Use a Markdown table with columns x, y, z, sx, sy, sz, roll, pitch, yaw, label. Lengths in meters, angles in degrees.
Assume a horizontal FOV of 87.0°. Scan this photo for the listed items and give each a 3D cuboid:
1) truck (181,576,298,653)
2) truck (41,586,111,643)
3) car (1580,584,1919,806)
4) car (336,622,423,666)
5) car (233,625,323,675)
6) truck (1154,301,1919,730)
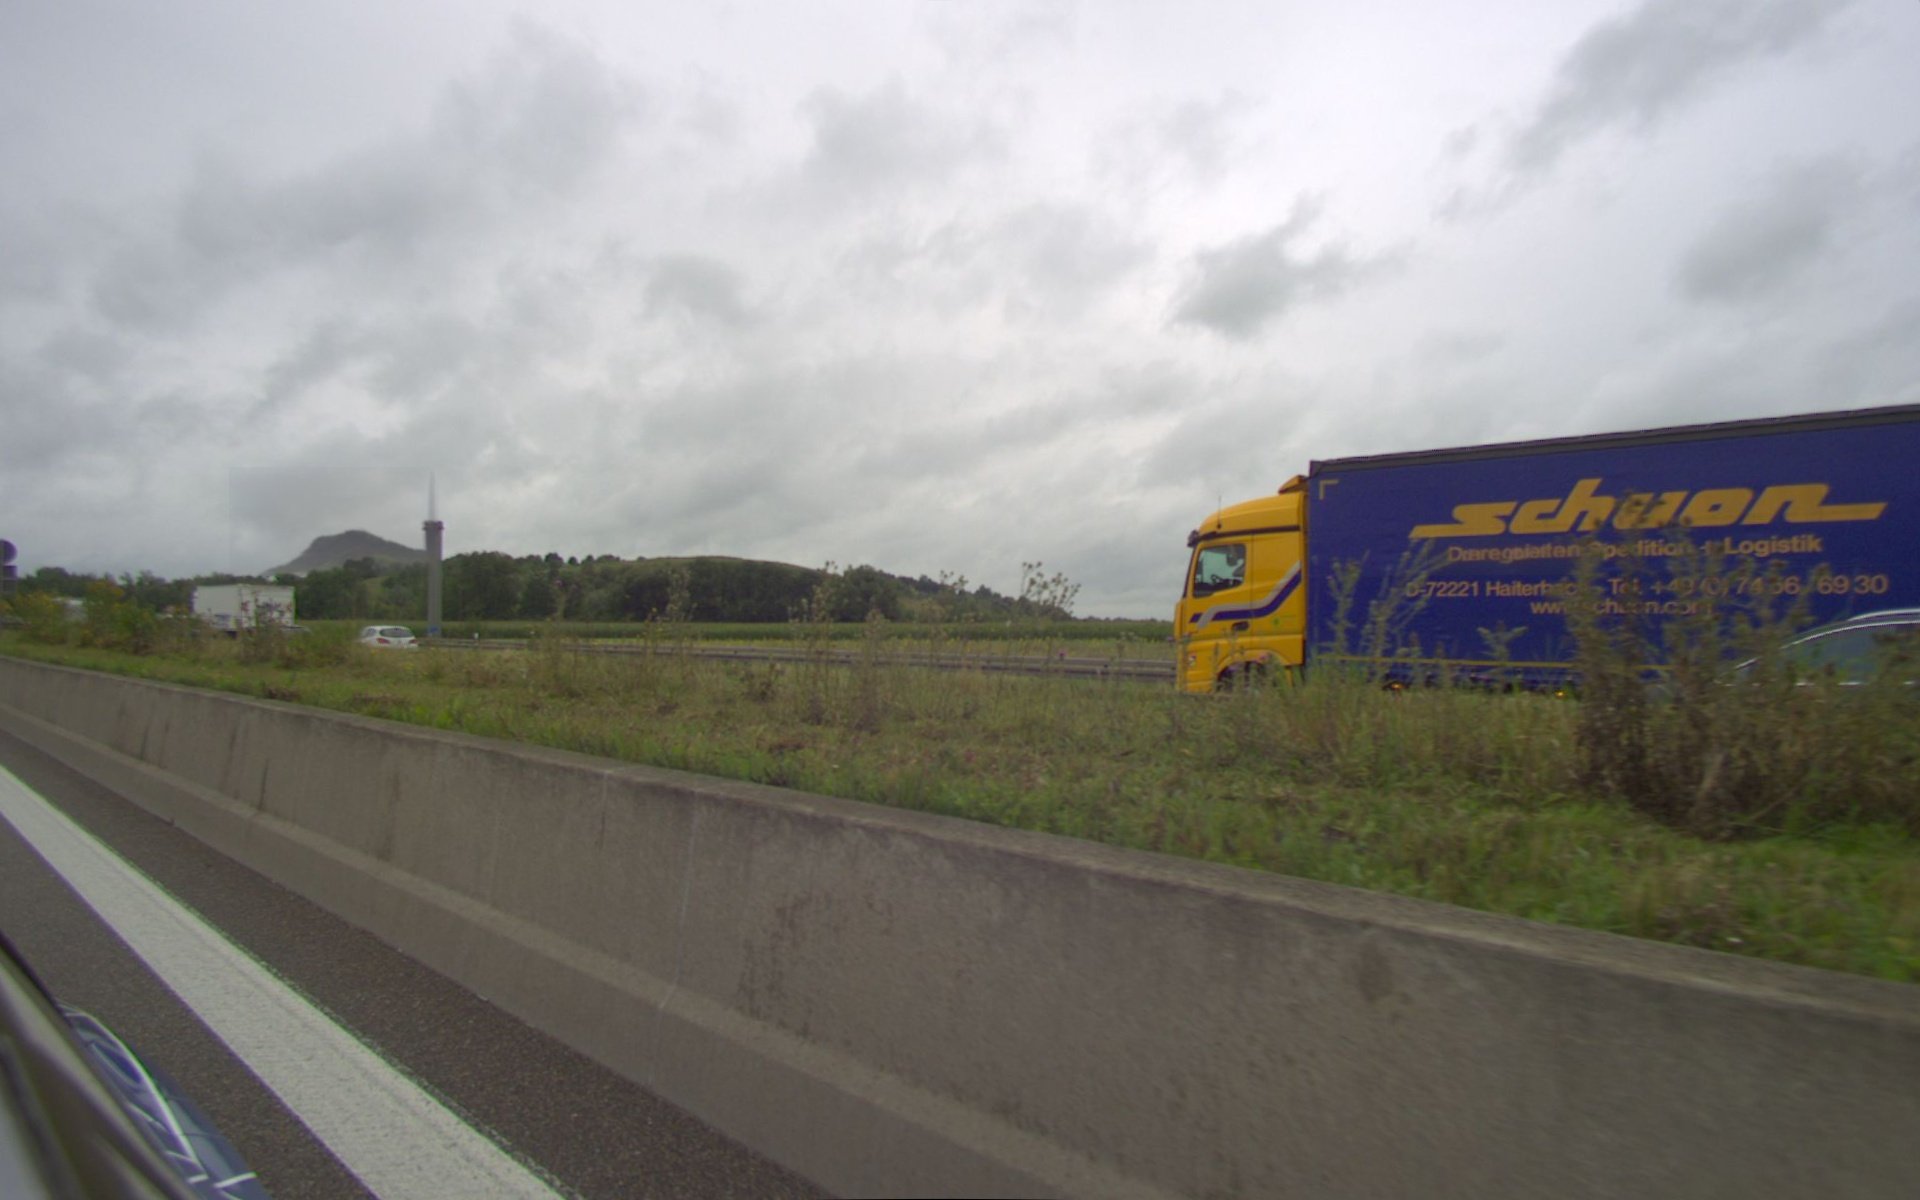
| x | y | z | sx | sy | sz | roll | pitch | yaw | label |
| --- | --- | --- | --- | --- | --- | --- | --- | --- | --- |
| -40.752 | 0.775 | 57.021 | 10.809 | 3.997 | 3.150 | -1 | 0 | 42 | truck |
| -77.210 | 1.228 | 88.308 | 9.668 | 4.684 | 3.192 | -1 | 0 | 41 | truck |
| 8.116 | 0.794 | 9.176 | 3.998 | 1.798 | 1.847 | -1 | -2 | 41 | car |
| -24.480 | 1.813 | 42.616 | 3.998 | 1.696 | 1.973 | -1 | 0 | 41 | car |
| -25.414 | 1.822 | 37.684 | 3.998 | 1.665 | 1.797 | -1 | 0 | 41 | car |
| 8.363 | -0.858 | 13.925 | 10.986 | 4.396 | 3.377 | -1 | 0 | 41 | truck |
